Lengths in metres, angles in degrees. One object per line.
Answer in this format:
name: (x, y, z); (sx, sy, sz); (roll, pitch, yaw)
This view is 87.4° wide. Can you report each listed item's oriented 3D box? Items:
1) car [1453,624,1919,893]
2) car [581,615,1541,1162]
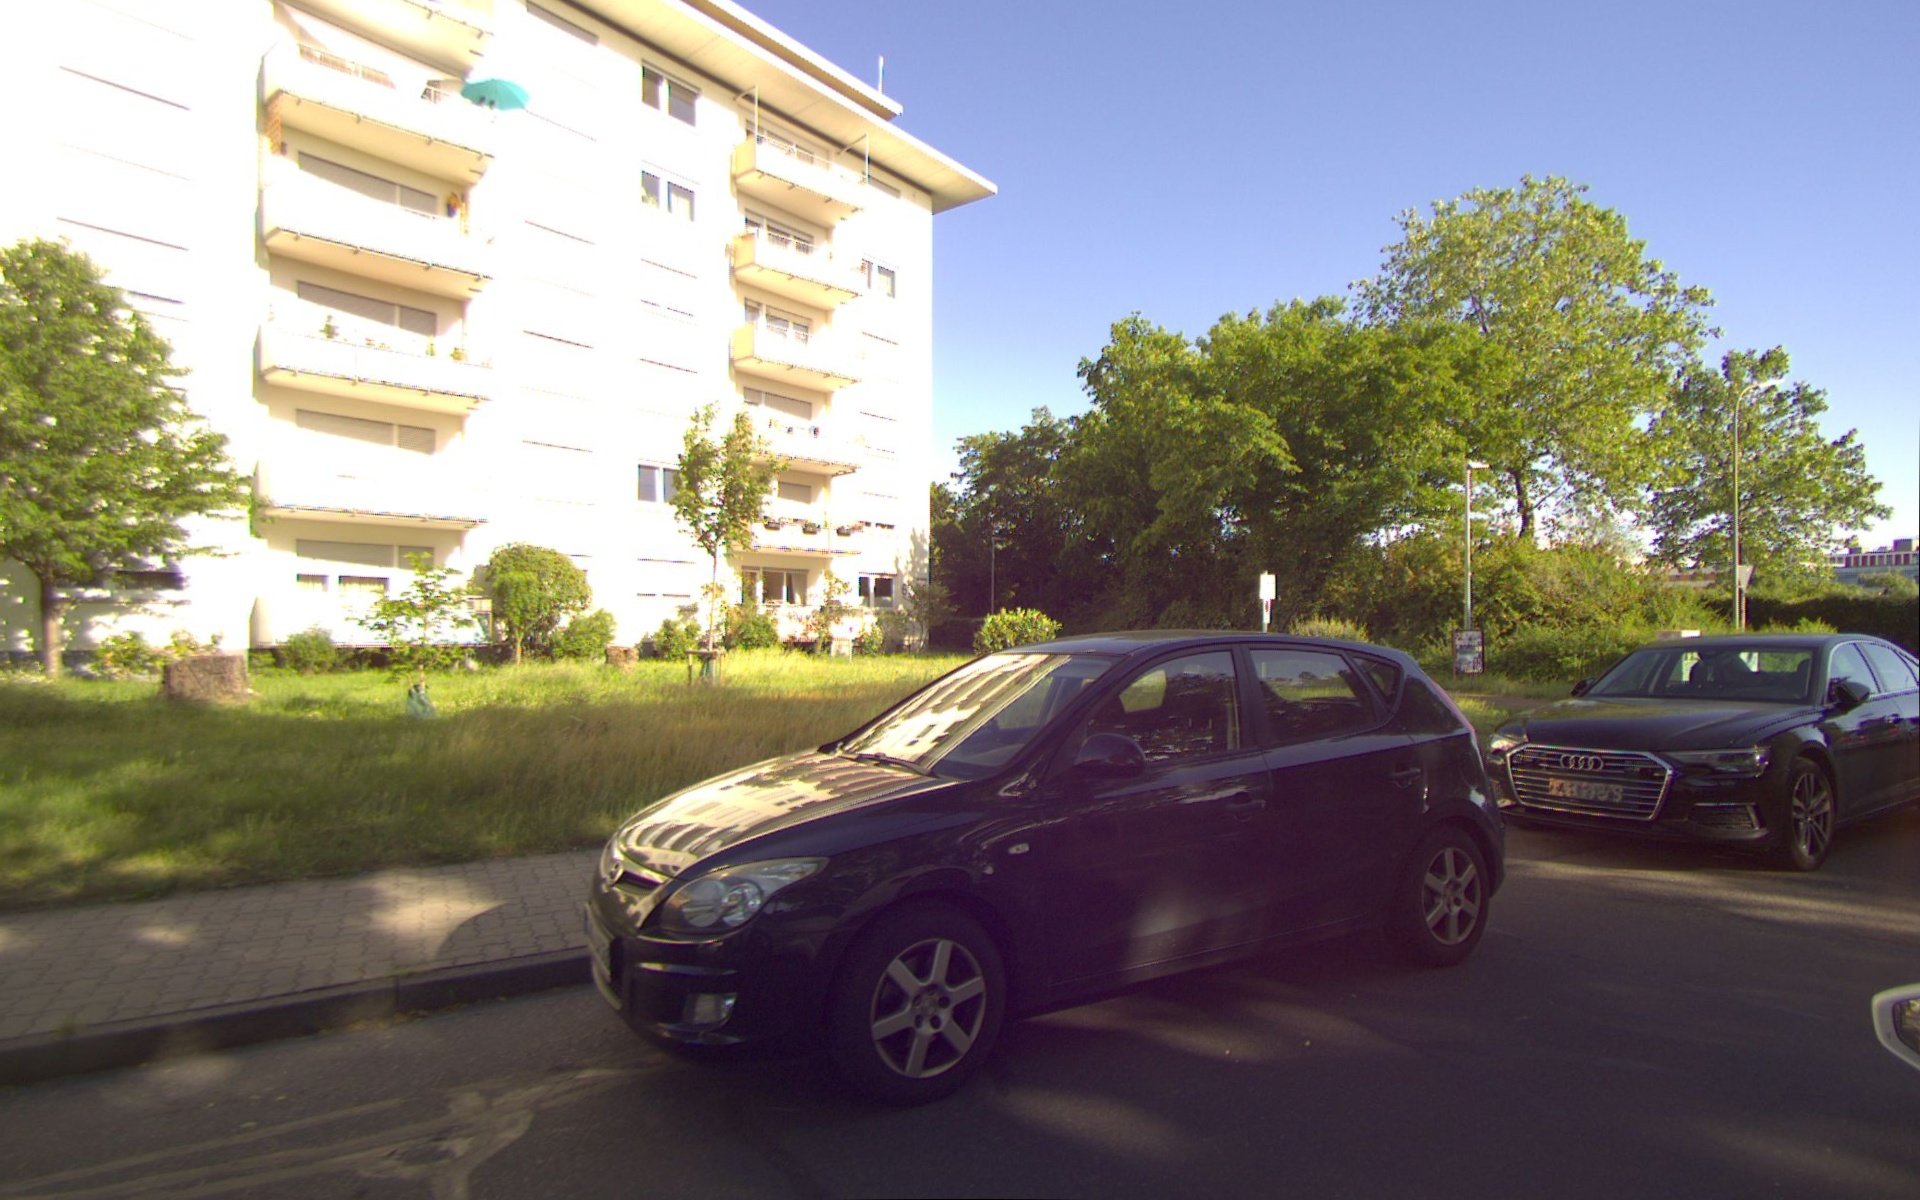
car: (5.947, 0.955, 7.649); (4.629, 1.483, 1.719); (0, -2, -31)
car: (0.522, 0.841, 4.515); (3.969, 1.473, 1.832); (1, -3, -29)
